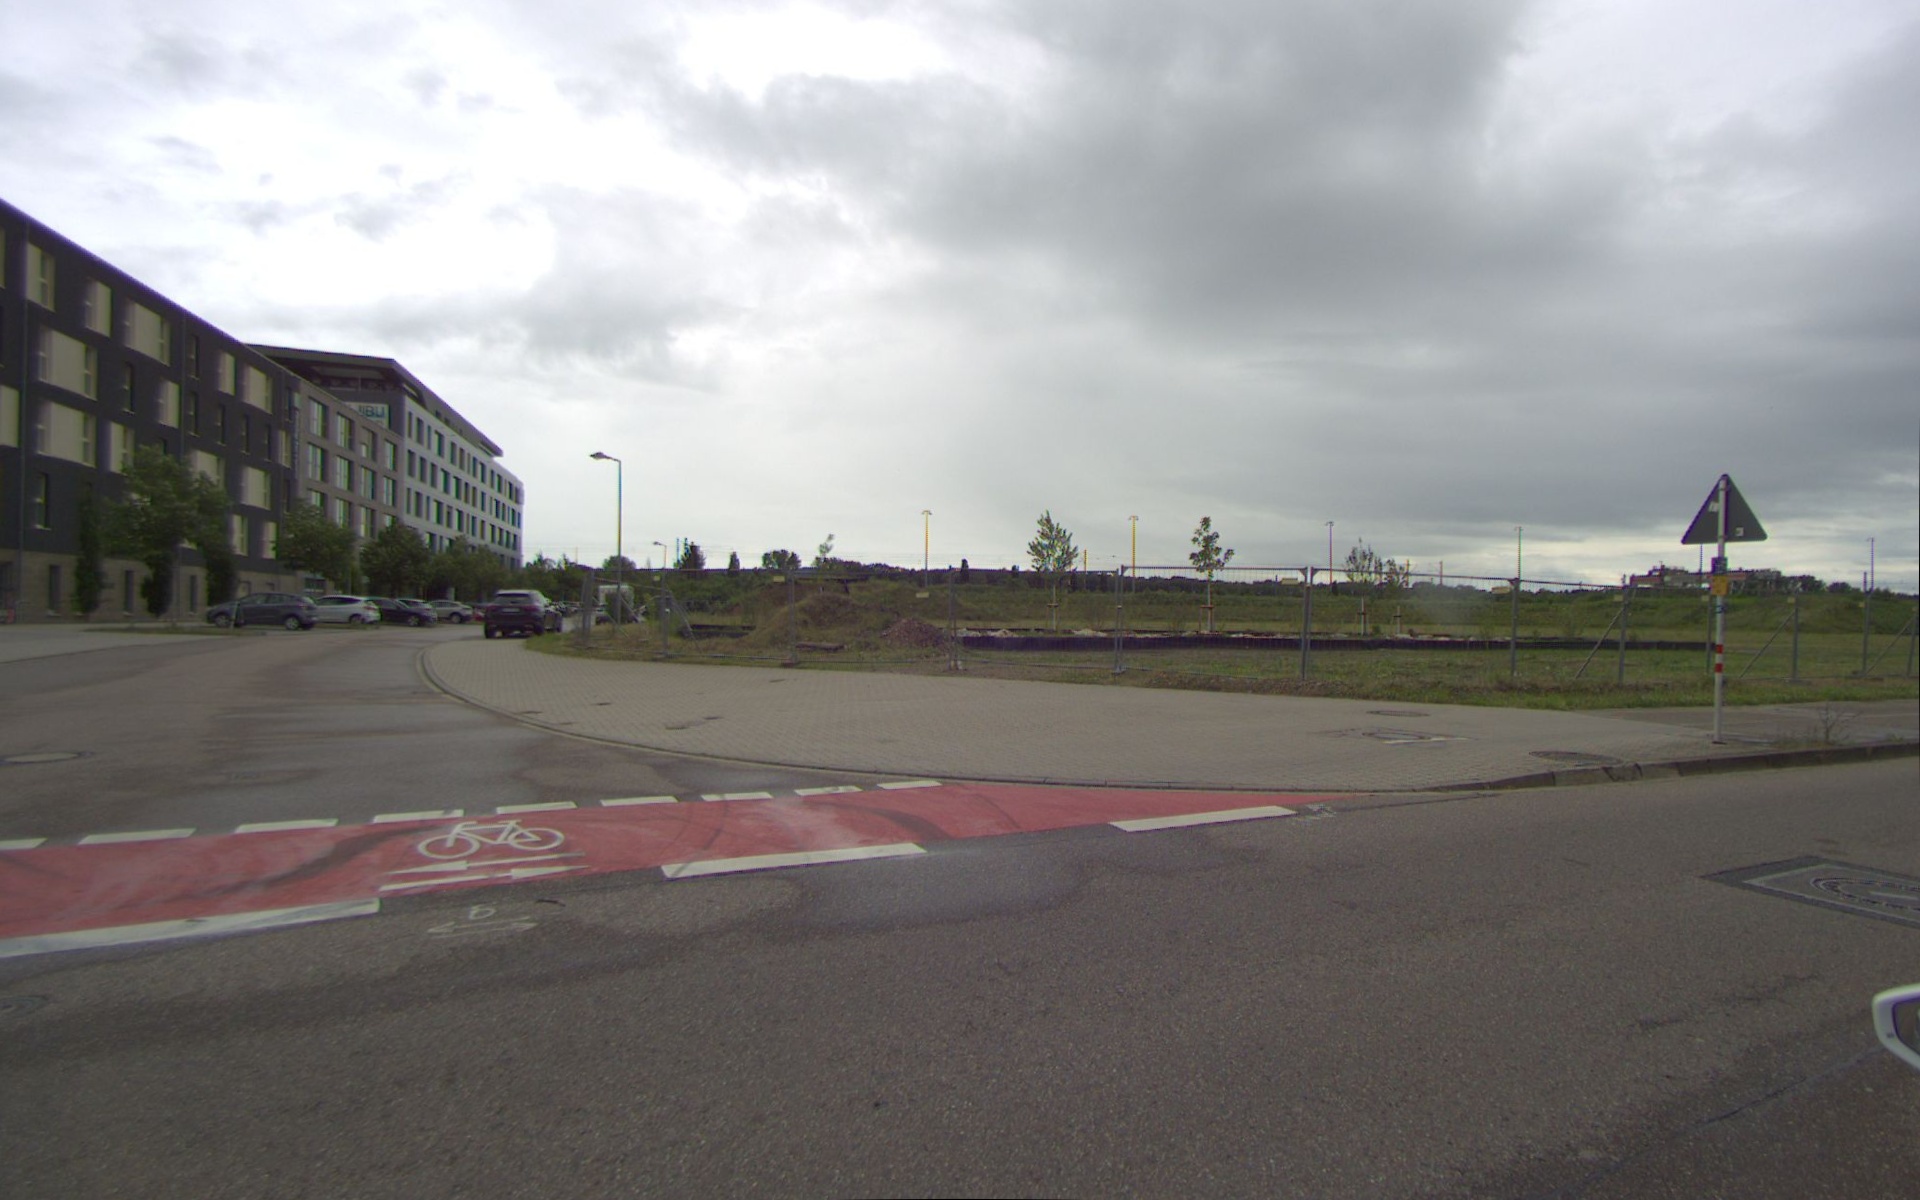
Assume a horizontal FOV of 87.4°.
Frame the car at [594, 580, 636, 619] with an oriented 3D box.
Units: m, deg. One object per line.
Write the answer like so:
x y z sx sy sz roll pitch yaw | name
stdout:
-28.040 -0.006 81.831 2.669 2.996 6.556 0 0 -15 | car

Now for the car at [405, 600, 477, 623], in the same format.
-34.399 0.772 66.684 3.937 1.478 1.738 1 -1 -19 | car

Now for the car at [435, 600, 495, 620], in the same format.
-38.489 0.779 78.124 3.937 1.478 1.738 1 -1 -19 | car

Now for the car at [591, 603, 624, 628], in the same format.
-25.895 1.114 73.969 1.967 1.770 3.988 0 0 -15 | car

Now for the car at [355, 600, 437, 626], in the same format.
-33.048 0.753 58.961 3.937 1.416 1.738 1 -1 -19 | car

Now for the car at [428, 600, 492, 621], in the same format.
-36.234 0.771 72.851 3.937 1.478 1.738 1 -1 -19 | car

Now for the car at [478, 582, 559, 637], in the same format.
-15.568 0.327 35.643 1.966 1.847 3.988 0 0 -14 | car

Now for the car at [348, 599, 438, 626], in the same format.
-30.700 0.677 54.494 3.939 1.416 1.737 1 -1 -20 | car

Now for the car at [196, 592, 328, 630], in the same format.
-27.600 0.424 39.862 3.936 1.461 1.692 0 0 -17 | car

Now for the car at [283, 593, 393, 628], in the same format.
-29.092 0.492 47.112 4.095 1.538 1.989 0 0 -23 | car

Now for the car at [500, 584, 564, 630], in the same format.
-17.319 0.281 40.823 1.774 1.776 3.666 0 0 -13 | car
